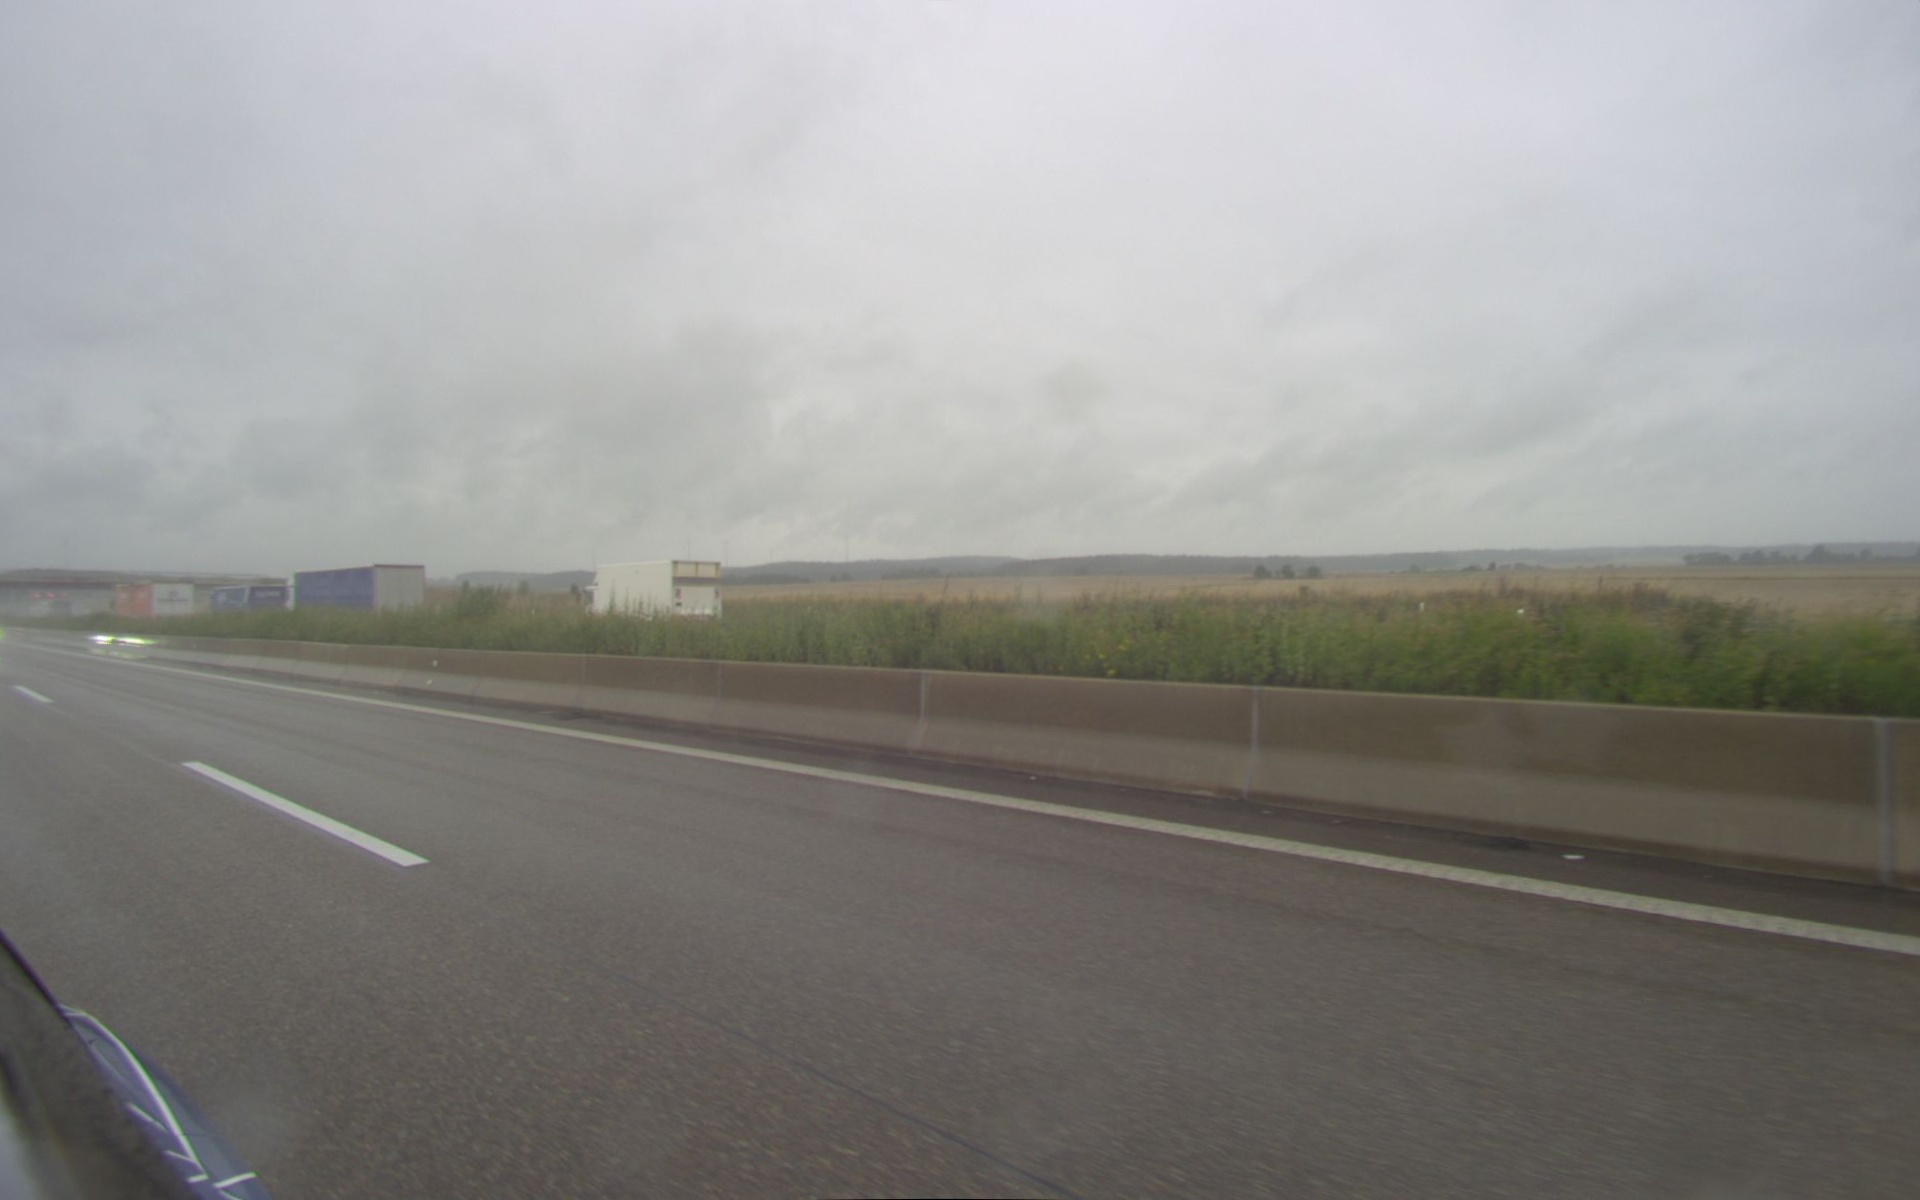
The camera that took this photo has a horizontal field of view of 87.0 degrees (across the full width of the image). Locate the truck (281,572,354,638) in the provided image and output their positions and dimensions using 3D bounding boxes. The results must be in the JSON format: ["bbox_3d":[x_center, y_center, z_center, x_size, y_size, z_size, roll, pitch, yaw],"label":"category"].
[{"bbox_3d":[-40.149,0.332,63.181,5.609,3.956,2.459,-1,0,43],"label":"truck"}]

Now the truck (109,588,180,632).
[{"bbox_3d":[-68.360,0.911,84.730,10.129,3.467,3.230,-1,-1,43],"label":"truck"}]

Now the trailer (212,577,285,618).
[{"bbox_3d":[-65.072,-0.110,92.333,14.241,3.444,3.079,-1,-1,45],"label":"trailer"}]

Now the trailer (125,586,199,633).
[{"bbox_3d":[-62.853,0.760,79.623,9.442,3.483,3.222,-1,-1,43],"label":"trailer"}]

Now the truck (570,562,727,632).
[{"bbox_3d":[-14.359,-0.093,46.209,8.274,2.930,2.791,-1,0,40],"label":"truck"}]

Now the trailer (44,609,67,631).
[{"bbox_3d":[-171.957,3.811,192.411,14.211,4.027,2.199,-1,0,44],"label":"trailer"}]

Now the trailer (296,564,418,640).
[{"bbox_3d":[-34.978,0.194,58.328,13.492,3.969,2.409,-1,0,43],"label":"trailer"}]
